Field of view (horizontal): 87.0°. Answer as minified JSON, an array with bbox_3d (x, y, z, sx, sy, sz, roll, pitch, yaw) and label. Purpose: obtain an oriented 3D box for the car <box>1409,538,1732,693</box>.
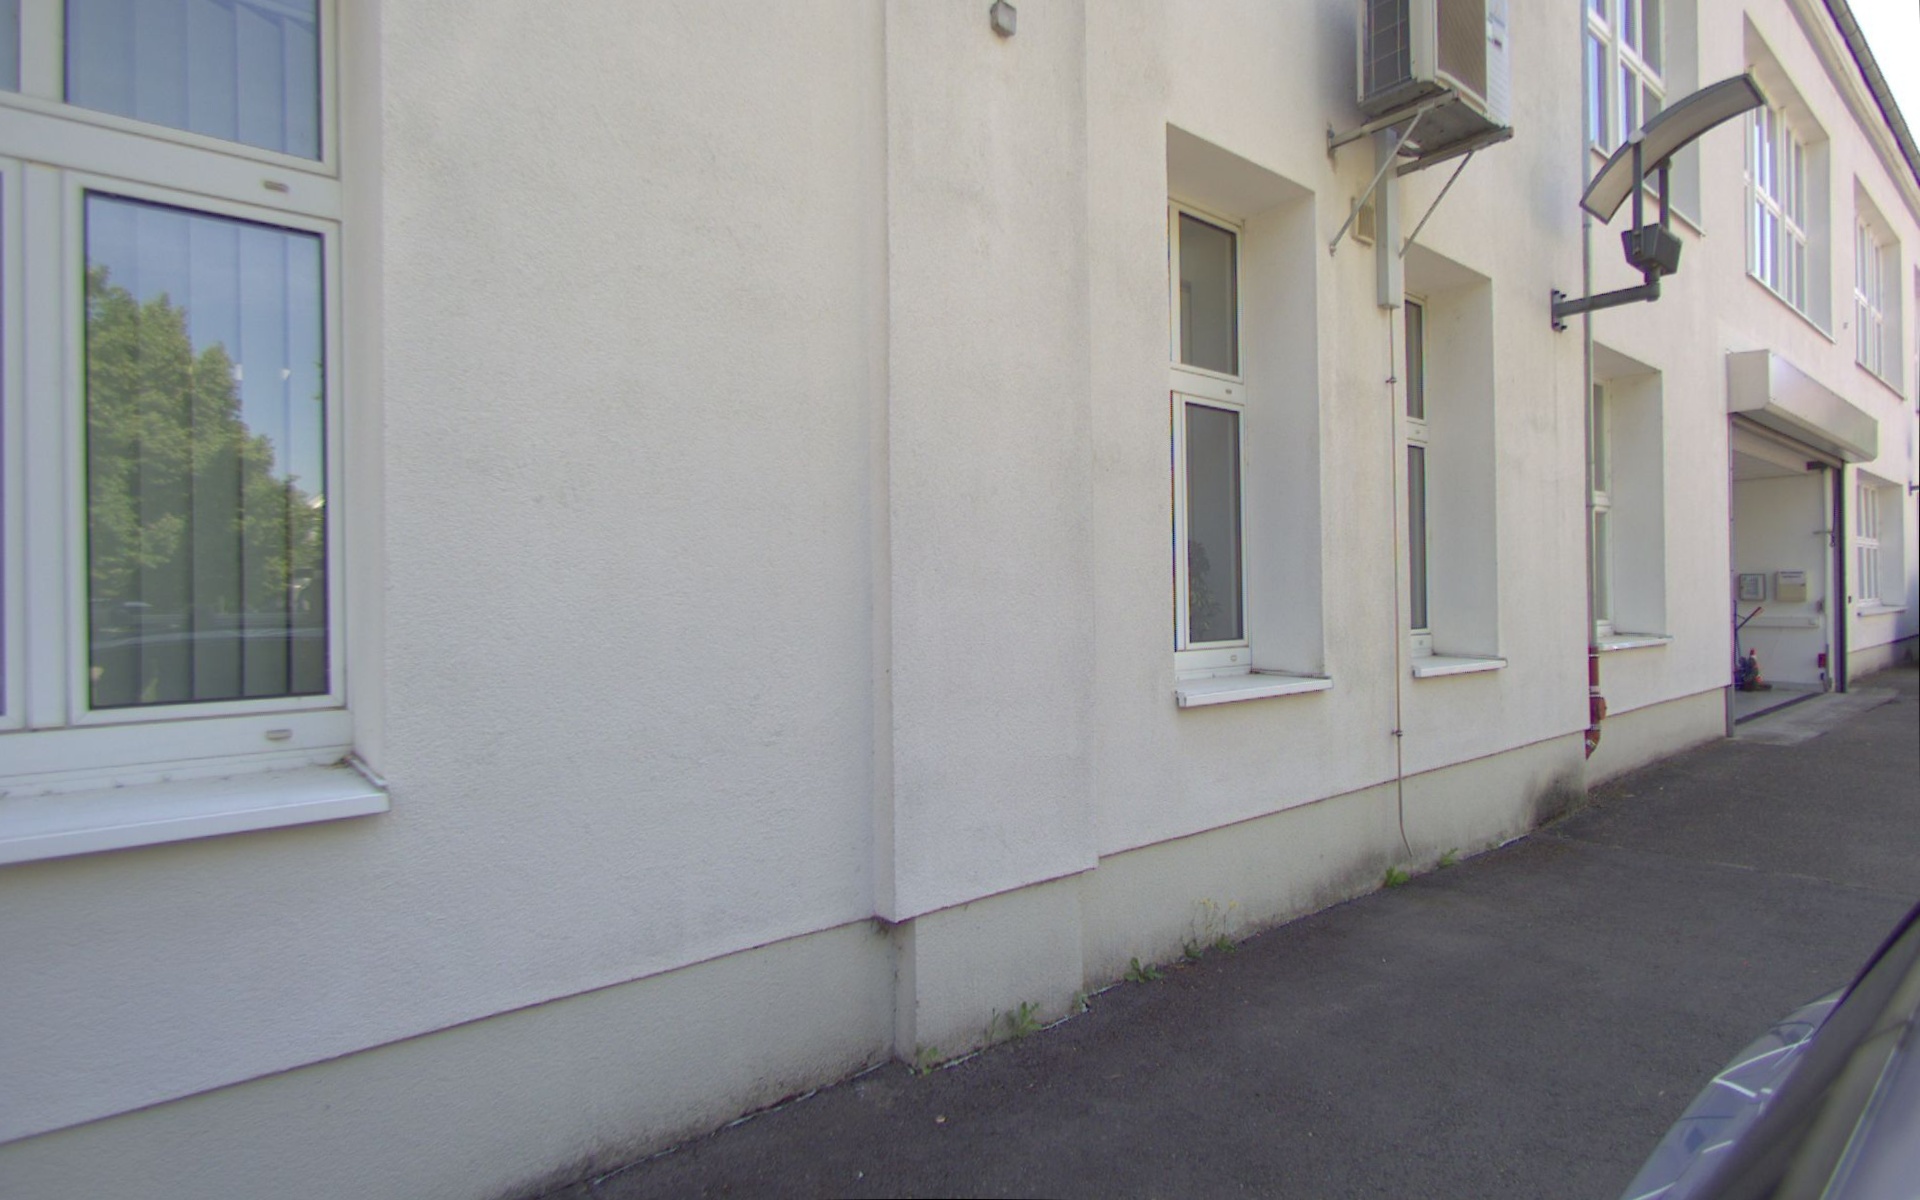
[{"bbox_3d":[9.070,0.187,15.320,1.623,2.039,3.839,-2,1,-36],"label":"car"}]
